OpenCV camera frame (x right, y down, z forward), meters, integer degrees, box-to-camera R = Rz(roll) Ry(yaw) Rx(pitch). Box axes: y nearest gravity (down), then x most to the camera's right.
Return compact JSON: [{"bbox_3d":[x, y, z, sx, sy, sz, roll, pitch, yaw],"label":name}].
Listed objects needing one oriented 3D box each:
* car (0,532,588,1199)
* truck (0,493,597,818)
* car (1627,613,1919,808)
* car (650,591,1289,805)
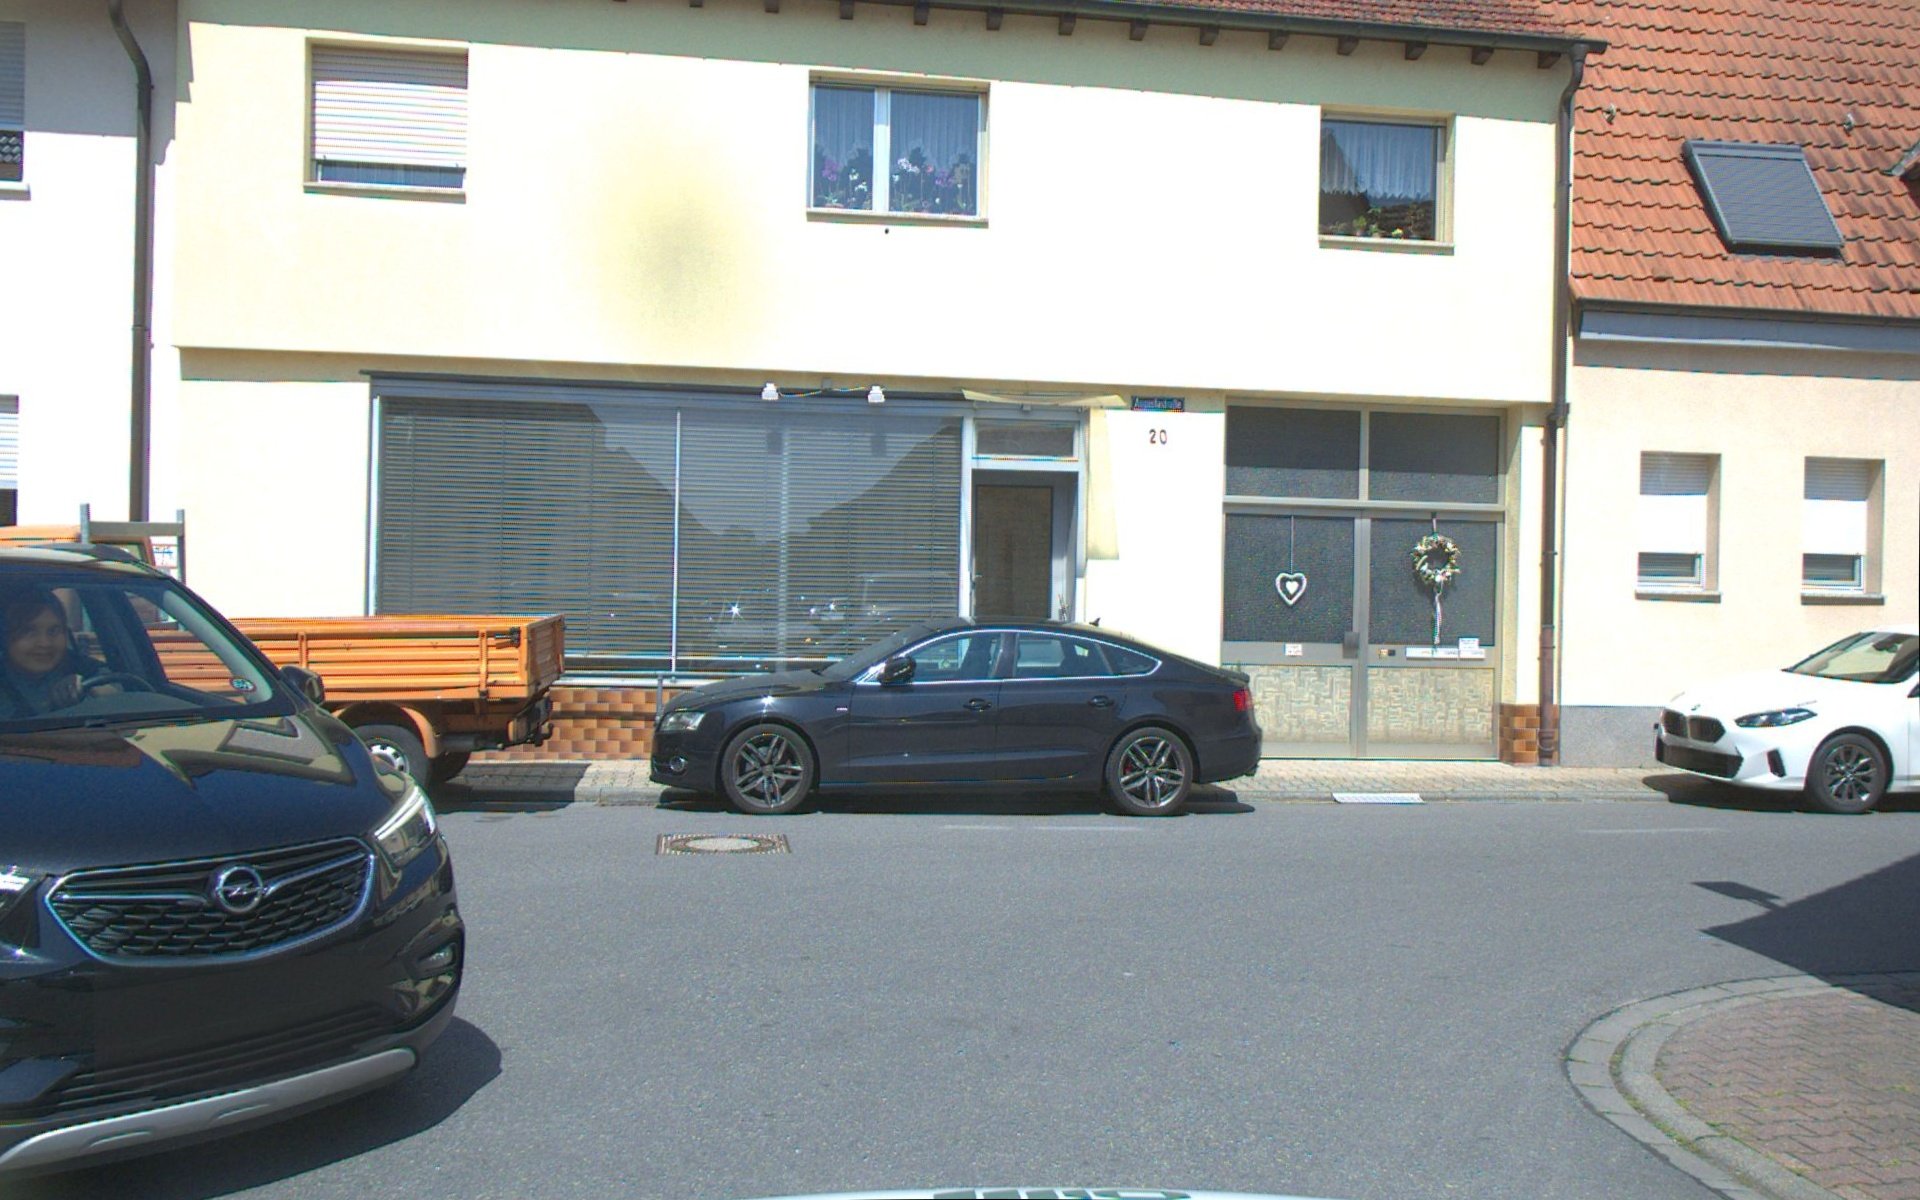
[{"bbox_3d":[-3.126,0.636,5.264,4.206,1.610,1.751,1,1,43],"label":"car"},{"bbox_3d":[-5.272,0.370,11.843,4.967,2.049,2.186,2,0,-8],"label":"truck"},{"bbox_3d":[8.032,0.908,13.947,4.122,1.479,1.785,2,0,-7],"label":"car"},{"bbox_3d":[0.006,0.754,12.570,4.531,1.419,1.924,2,-3,-9],"label":"car"}]
